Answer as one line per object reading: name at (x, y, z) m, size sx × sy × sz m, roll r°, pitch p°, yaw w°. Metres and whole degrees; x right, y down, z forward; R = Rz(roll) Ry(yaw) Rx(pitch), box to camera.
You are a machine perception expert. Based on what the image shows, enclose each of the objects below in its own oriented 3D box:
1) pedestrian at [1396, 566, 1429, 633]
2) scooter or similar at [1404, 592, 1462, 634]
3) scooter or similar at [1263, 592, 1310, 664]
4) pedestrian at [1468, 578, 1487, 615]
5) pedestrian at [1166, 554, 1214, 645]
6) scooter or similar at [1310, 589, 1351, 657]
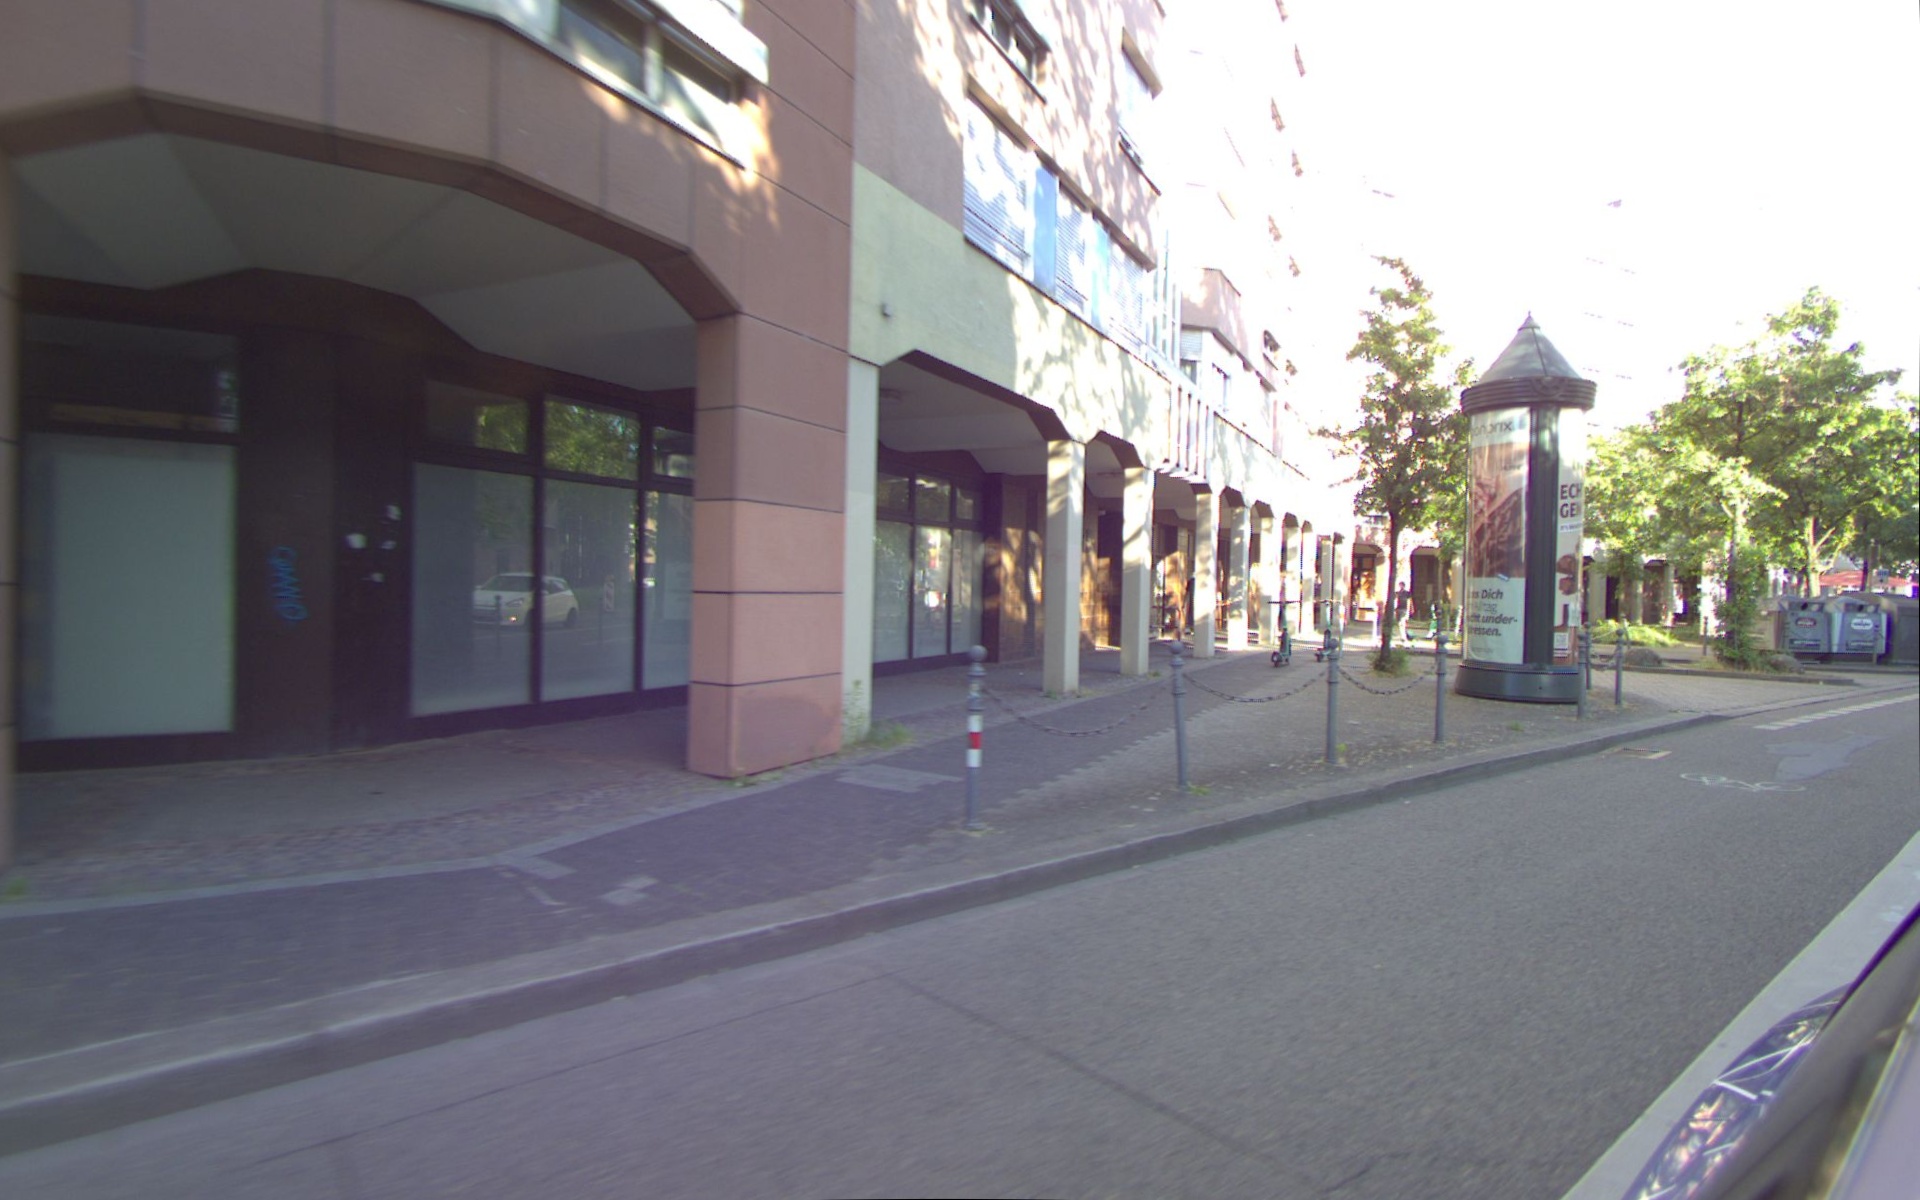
pedestrian at (13.903, -0.019, 31.093) m, size 0.763 × 2.006 × 0.640 m, roll 1°, pitch 1°, yaw -43°
scooter or similar at (13.691, 0.362, 29.315) m, size 0.548 × 1.160 × 1.460 m, roll 1°, pitch 1°, yaw -33°
scooter or similar at (5.873, 0.484, 18.192) m, size 0.482 × 1.232 × 1.435 m, roll 1°, pitch 1°, yaw 31°
pedestrian at (26.328, -0.176, 51.467) m, size 0.695 × 1.894 × 0.622 m, roll 1°, pitch 1°, yaw -37°
pedestrian at (5.169, -0.019, 22.752) m, size 0.812 × 2.006 × 0.839 m, roll 1°, pitch 1°, yaw 31°
scooter or similar at (7.363, 0.434, 20.075) m, size 0.482 × 1.290 × 1.435 m, roll 1°, pitch 1°, yaw 31°
